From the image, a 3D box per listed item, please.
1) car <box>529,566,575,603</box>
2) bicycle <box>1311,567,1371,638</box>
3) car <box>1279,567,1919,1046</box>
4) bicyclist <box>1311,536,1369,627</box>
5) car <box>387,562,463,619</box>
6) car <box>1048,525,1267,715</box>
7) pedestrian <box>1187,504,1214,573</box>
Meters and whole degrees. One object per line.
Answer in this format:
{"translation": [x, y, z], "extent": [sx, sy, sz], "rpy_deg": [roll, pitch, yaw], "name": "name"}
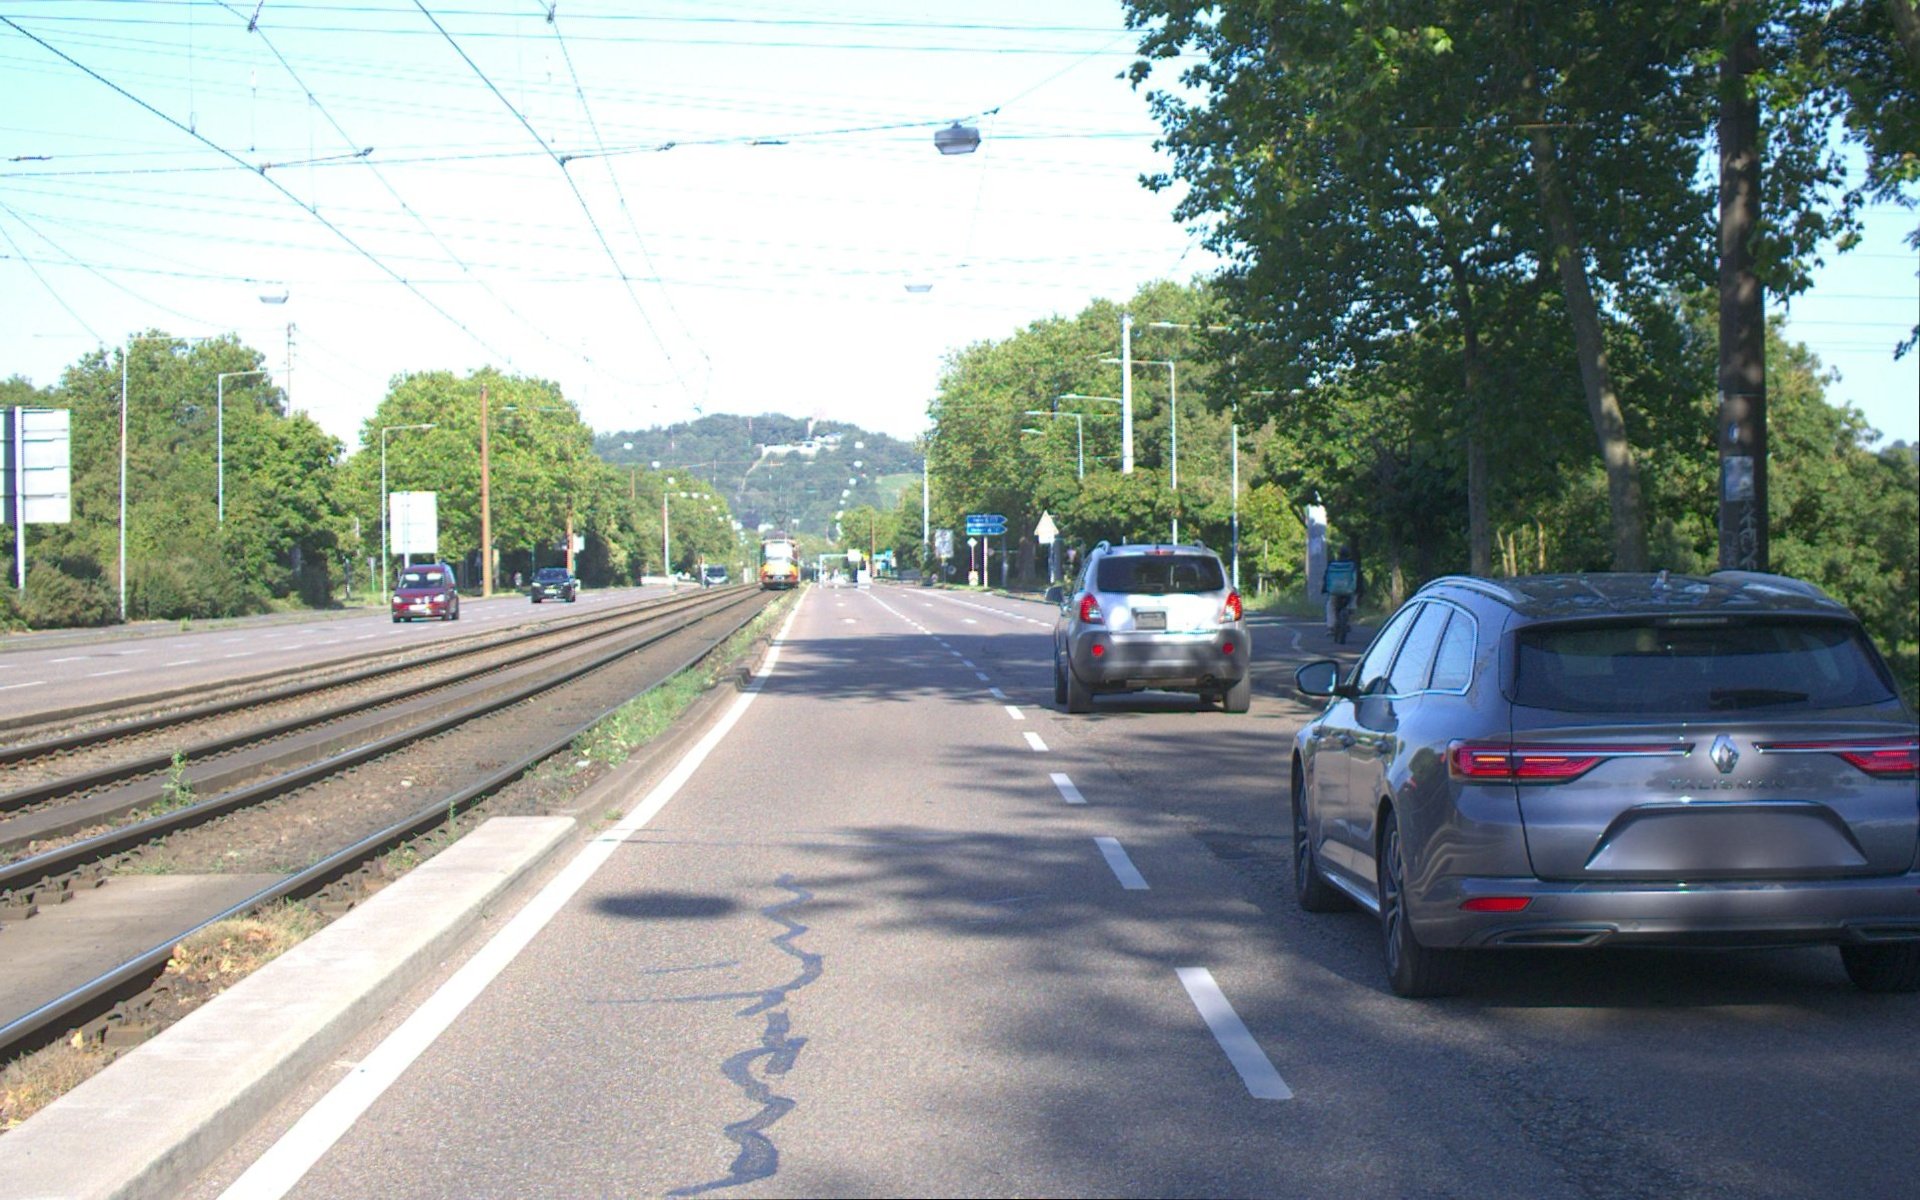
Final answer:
{"translation": [-19.503, -0.757, 164.412], "extent": [1.905, 1.638, 4.001], "rpy_deg": [2, 1, -4], "name": "car"}
{"translation": [6.300, 0.032, 56.942], "extent": [0.795, 1.090, 1.894], "rpy_deg": [-3, 1, 2], "name": "bicycle"}
{"translation": [2.378, 0.619, 12.988], "extent": [1.866, 1.462, 4.666], "rpy_deg": [0, 1, -1], "name": "car"}
{"translation": [6.278, -0.311, 56.839], "extent": [0.795, 1.455, 1.112], "rpy_deg": [-3, 1, 2], "name": "bicyclist"}
{"translation": [-16.999, -0.317, 109.384], "extent": [1.862, 1.714, 4.001], "rpy_deg": [0, 2, -2], "name": "car"}
{"translation": [1.989, 0.155, 35.754], "extent": [1.883, 1.789, 4.001], "rpy_deg": [2, 1, -2], "name": "car"}
{"translation": [6.635, -1.703, 94.708], "extent": [0.626, 1.865, 0.624], "rpy_deg": [2, 1, -2], "name": "pedestrian"}
